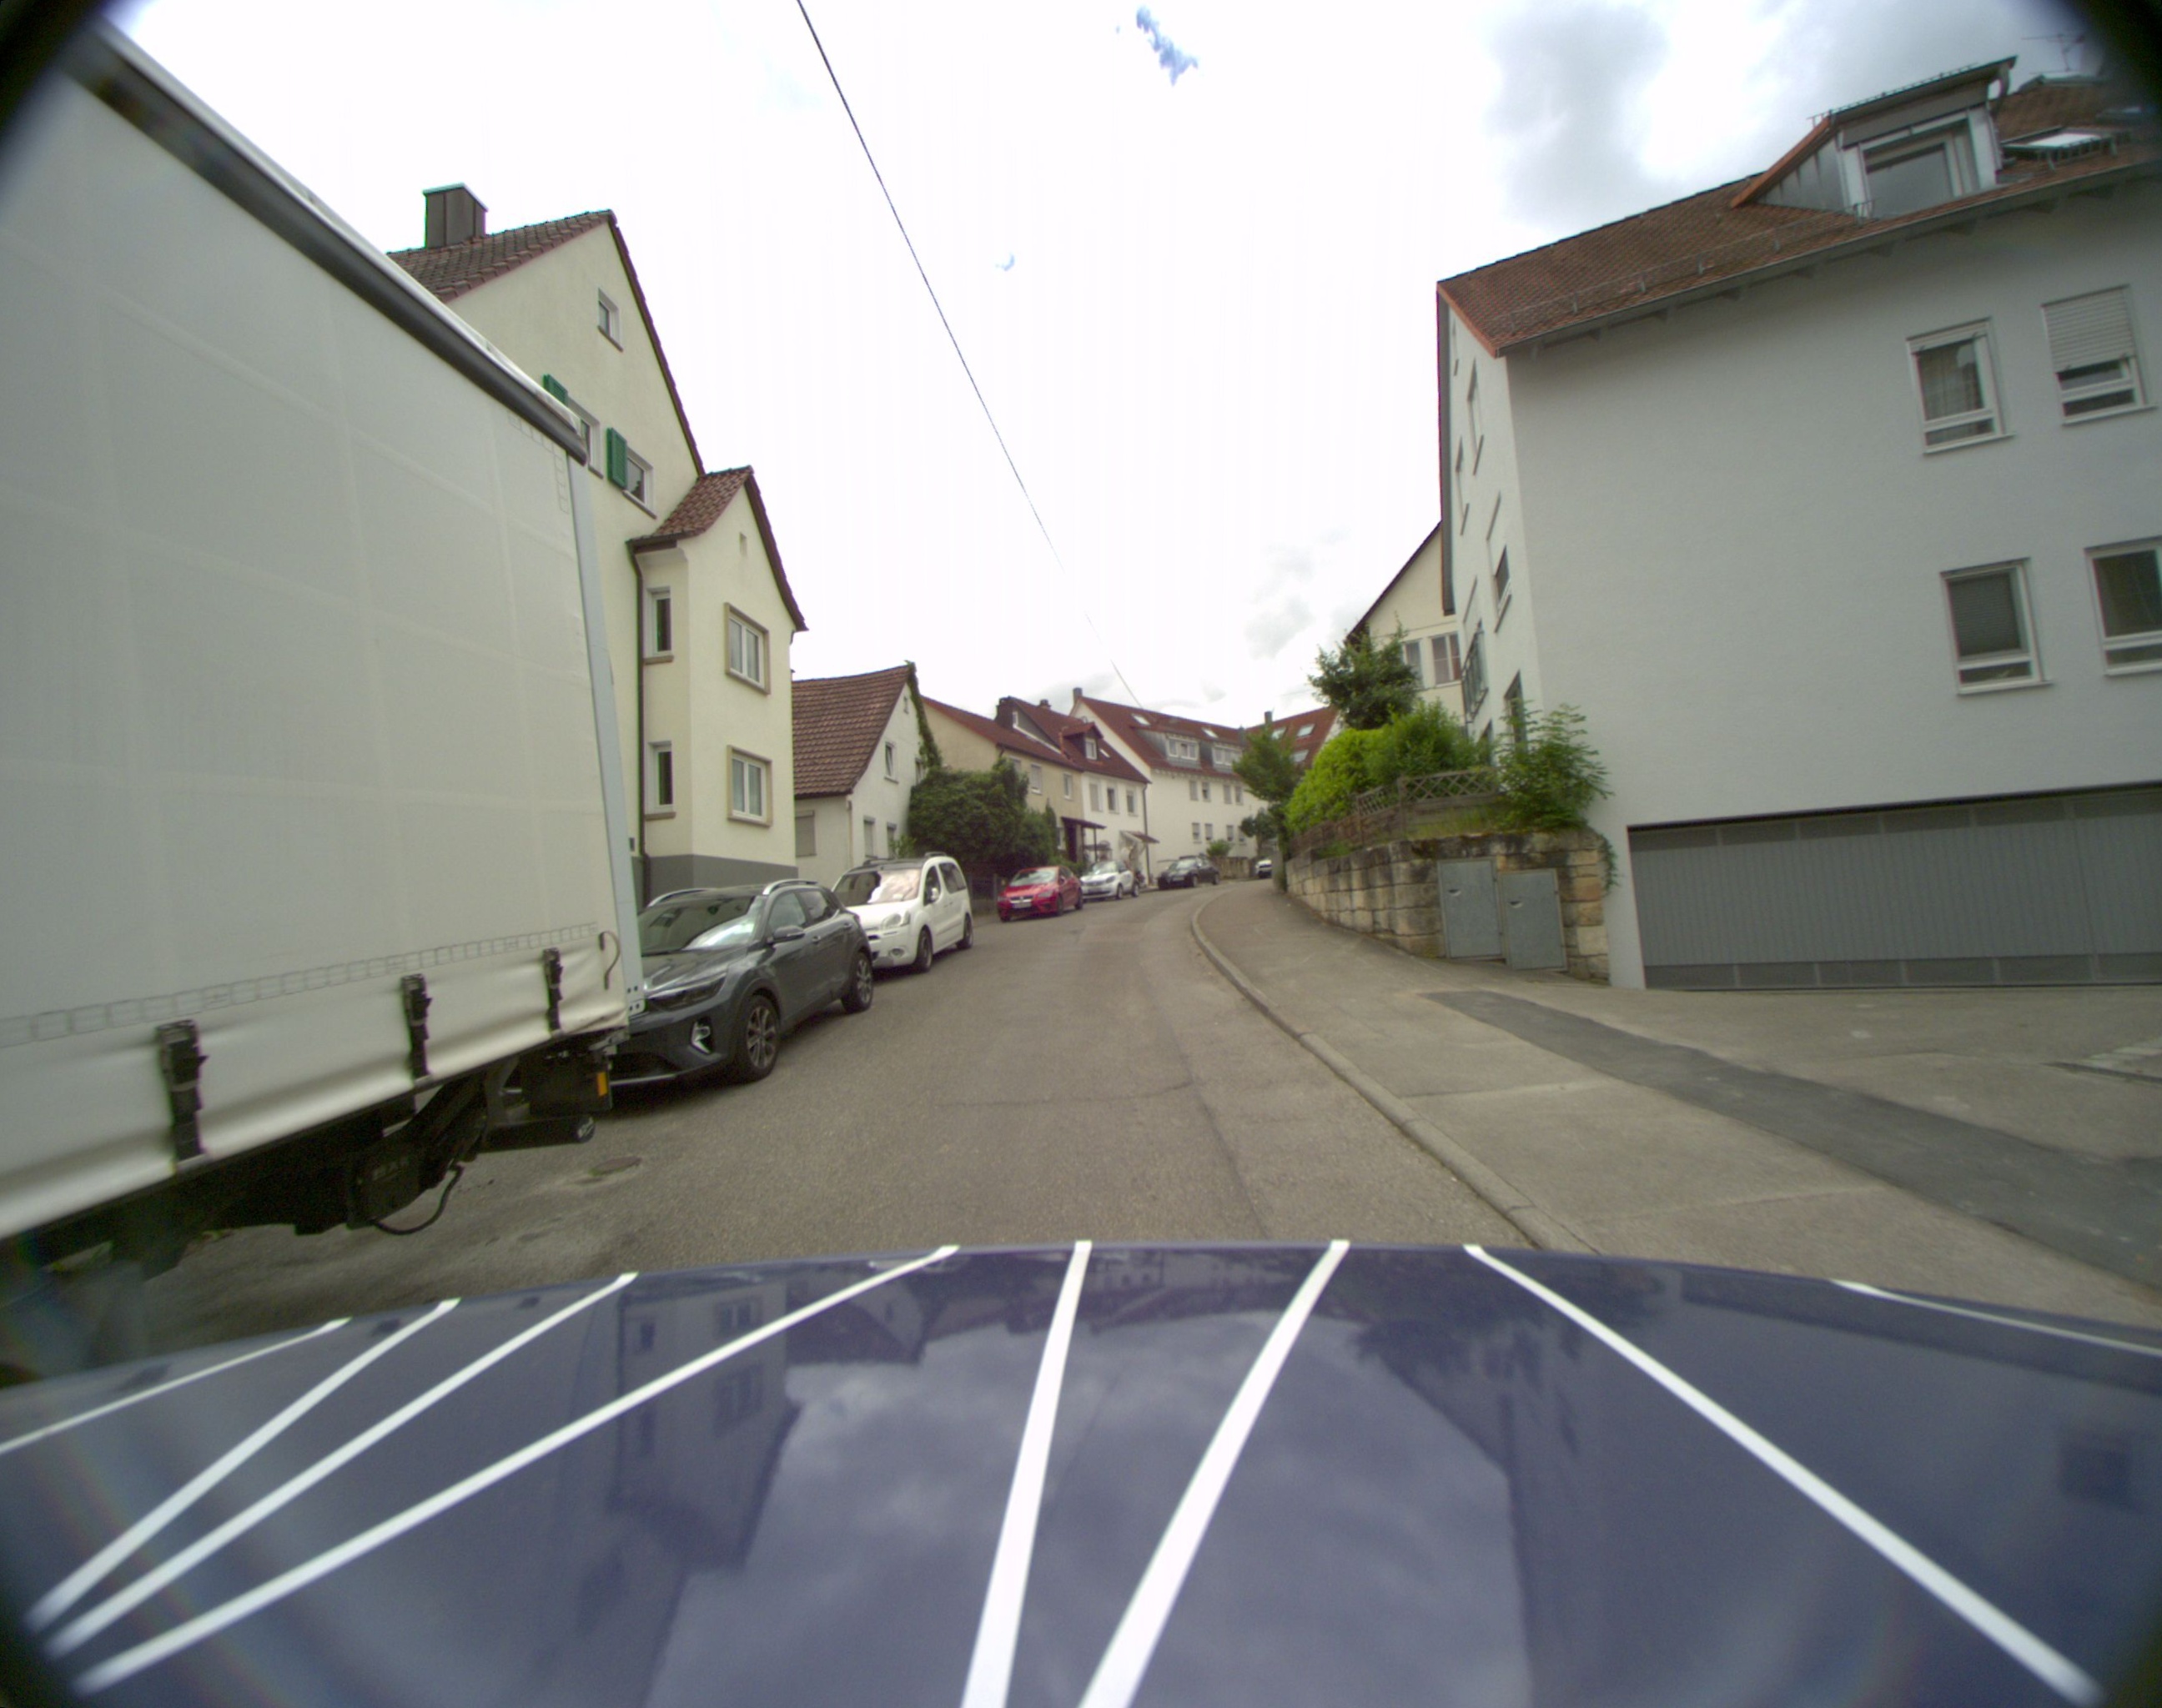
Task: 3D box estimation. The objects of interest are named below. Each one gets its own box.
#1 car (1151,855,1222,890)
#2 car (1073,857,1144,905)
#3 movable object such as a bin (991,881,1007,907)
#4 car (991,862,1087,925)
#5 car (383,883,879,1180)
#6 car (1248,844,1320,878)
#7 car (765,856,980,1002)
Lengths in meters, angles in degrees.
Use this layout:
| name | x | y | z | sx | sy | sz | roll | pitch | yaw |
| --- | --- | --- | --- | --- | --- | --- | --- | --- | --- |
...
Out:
| name | x | y | z | sx | sy | sz | roll | pitch | yaw |
| --- | --- | --- | --- | --- | --- | --- | --- | --- | --- |
| car | 5.113 | 0.864 | 36.408 | 1.720 | 1.398 | 4.010 | -8 | -3 | 32 |
| car | 1.096 | 0.999 | 29.210 | 1.613 | 1.523 | 2.901 | -8 | -2 | 23 |
| movable object such as a bin | -3.012 | 1.462 | 27.814 | 0.372 | 0.944 | 0.375 | -4 | 0 | 25 |
| car | -1.119 | 1.084 | 22.285 | 1.682 | 1.443 | 3.855 | -6 | 0 | 13 |
| car | -3.330 | 1.185 | 6.727 | 1.737 | 1.497 | 4.051 | -6 | 0 | 2 |
| car | 12.023 | 0.391 | 44.866 | 4.469 | 1.629 | 1.948 | -2 | -6 | -45 |
| car | -3.124 | 1.028 | 12.448 | 1.839 | 1.803 | 4.305 | -6 | 0 | 5 |
